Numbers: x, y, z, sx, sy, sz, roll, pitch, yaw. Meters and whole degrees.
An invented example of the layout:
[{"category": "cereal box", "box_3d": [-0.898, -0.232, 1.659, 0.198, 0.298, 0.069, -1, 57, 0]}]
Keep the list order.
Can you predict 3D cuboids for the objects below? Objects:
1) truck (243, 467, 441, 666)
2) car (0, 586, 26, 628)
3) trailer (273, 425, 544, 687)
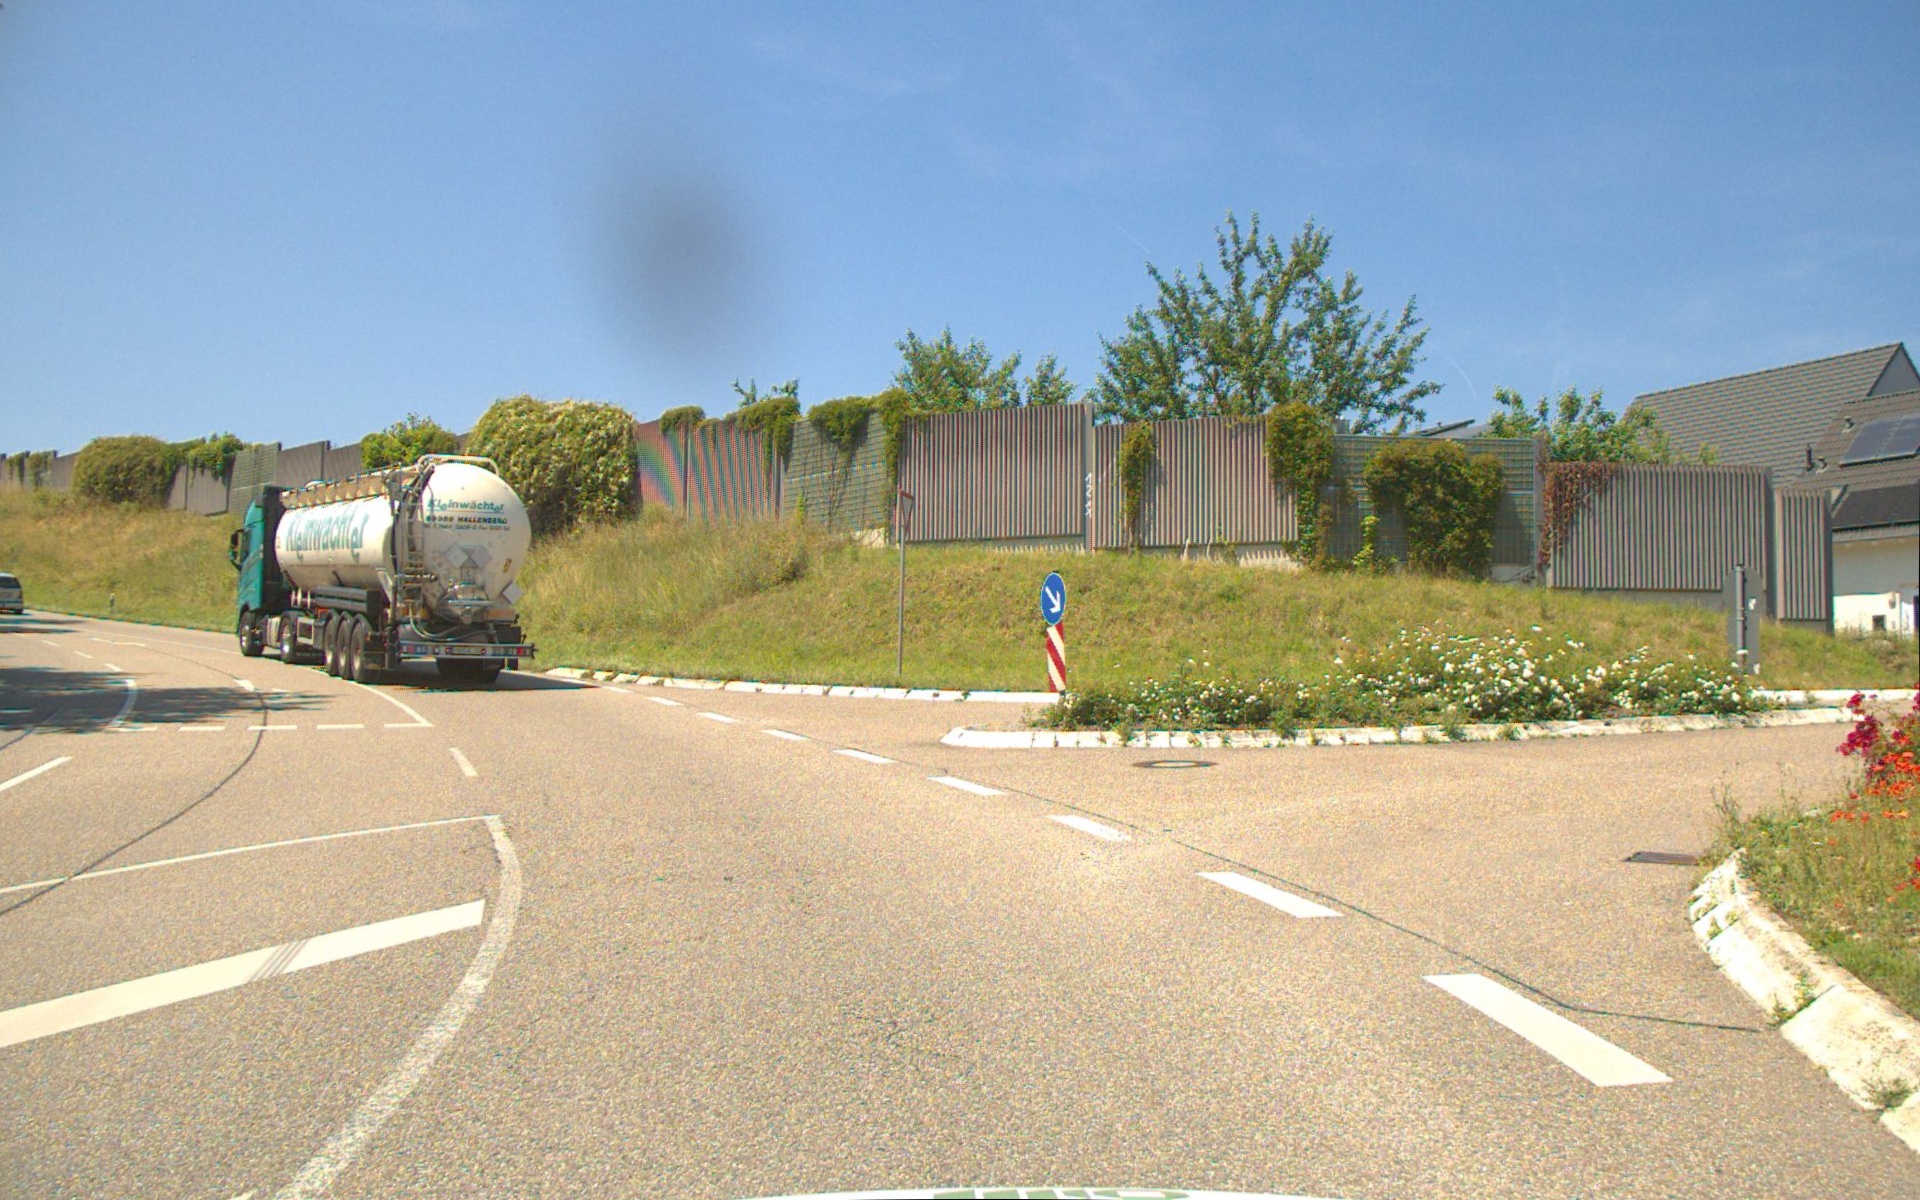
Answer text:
[{"category": "truck", "box_3d": [-14.012, -0.700, 37.151, 2.702, 3.998, 7.180, 1, 0, -33]}, {"category": "car", "box_3d": [-37.423, 0.190, 63.557, 3.576, 1.536, 1.642, 2, -3, 44]}, {"category": "trailer", "box_3d": [-11.235, -0.807, 32.620, 2.634, 4.261, 11.780, 0, 1, -31]}]
